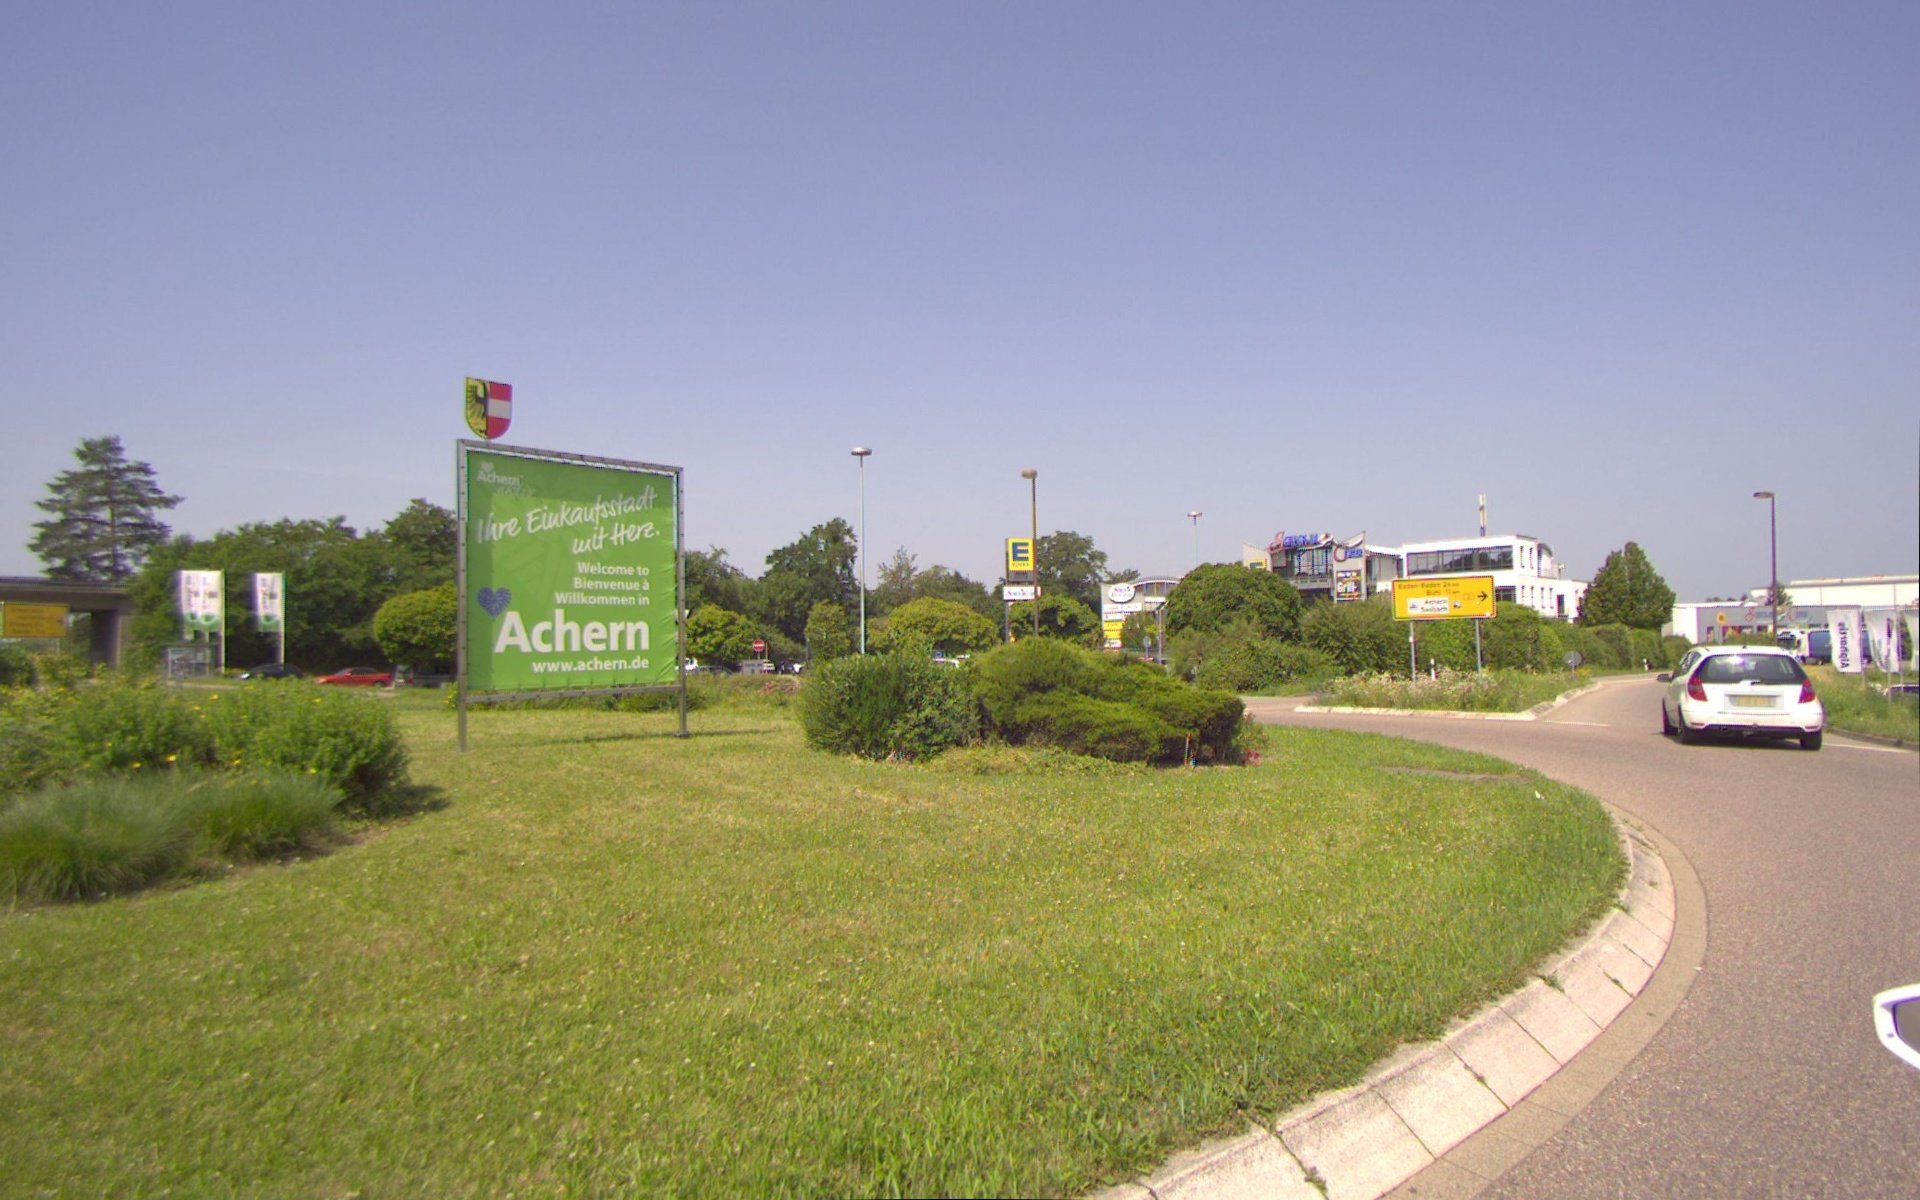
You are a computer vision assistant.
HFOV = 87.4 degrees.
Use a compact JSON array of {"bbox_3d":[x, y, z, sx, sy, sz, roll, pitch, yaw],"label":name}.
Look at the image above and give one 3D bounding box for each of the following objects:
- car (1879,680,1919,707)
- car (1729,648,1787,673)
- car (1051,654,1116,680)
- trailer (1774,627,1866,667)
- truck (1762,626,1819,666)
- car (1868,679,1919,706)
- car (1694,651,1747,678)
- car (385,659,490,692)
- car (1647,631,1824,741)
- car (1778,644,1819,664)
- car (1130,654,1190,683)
[{"bbox_3d":[57.490,5.593,59.608,1.662,1.543,4.160,2,-3,-15],"label":"car"},{"bbox_3d":[66.560,5.036,83.800,3.938,2.040,1.992,2,-2,-19],"label":"car"},{"bbox_3d":[7.834,4.269,63.957,1.980,1.594,3.962,3,-4,-35],"label":"car"},{"bbox_3d":[99.284,5.451,115.853,14.374,4.296,2.662,2,-2,-26],"label":"trailer"},{"bbox_3d":[93.401,5.217,112.937,6.030,4.312,2.506,2,-4,-25],"label":"truck"},{"bbox_3d":[59.418,5.756,62.406,1.725,1.543,4.154,2,-3,-20],"label":"car"},{"bbox_3d":[45.918,3.892,60.637,4.379,1.489,1.812,3,-3,-43],"label":"car"},{"bbox_3d":[-26.727,3.845,51.480,1.846,1.582,4.392,-1,-3,36],"label":"car"},{"bbox_3d":[12.897,1.438,16.954,1.755,1.623,3.889,-1,-5,29],"label":"car"},{"bbox_3d":[89.342,5.768,107.031,3.947,2.040,1.987,2,-3,-26],"label":"car"},{"bbox_3d":[11.609,3.963,58.352,1.540,1.594,3.292,3,-4,-35],"label":"car"}]
